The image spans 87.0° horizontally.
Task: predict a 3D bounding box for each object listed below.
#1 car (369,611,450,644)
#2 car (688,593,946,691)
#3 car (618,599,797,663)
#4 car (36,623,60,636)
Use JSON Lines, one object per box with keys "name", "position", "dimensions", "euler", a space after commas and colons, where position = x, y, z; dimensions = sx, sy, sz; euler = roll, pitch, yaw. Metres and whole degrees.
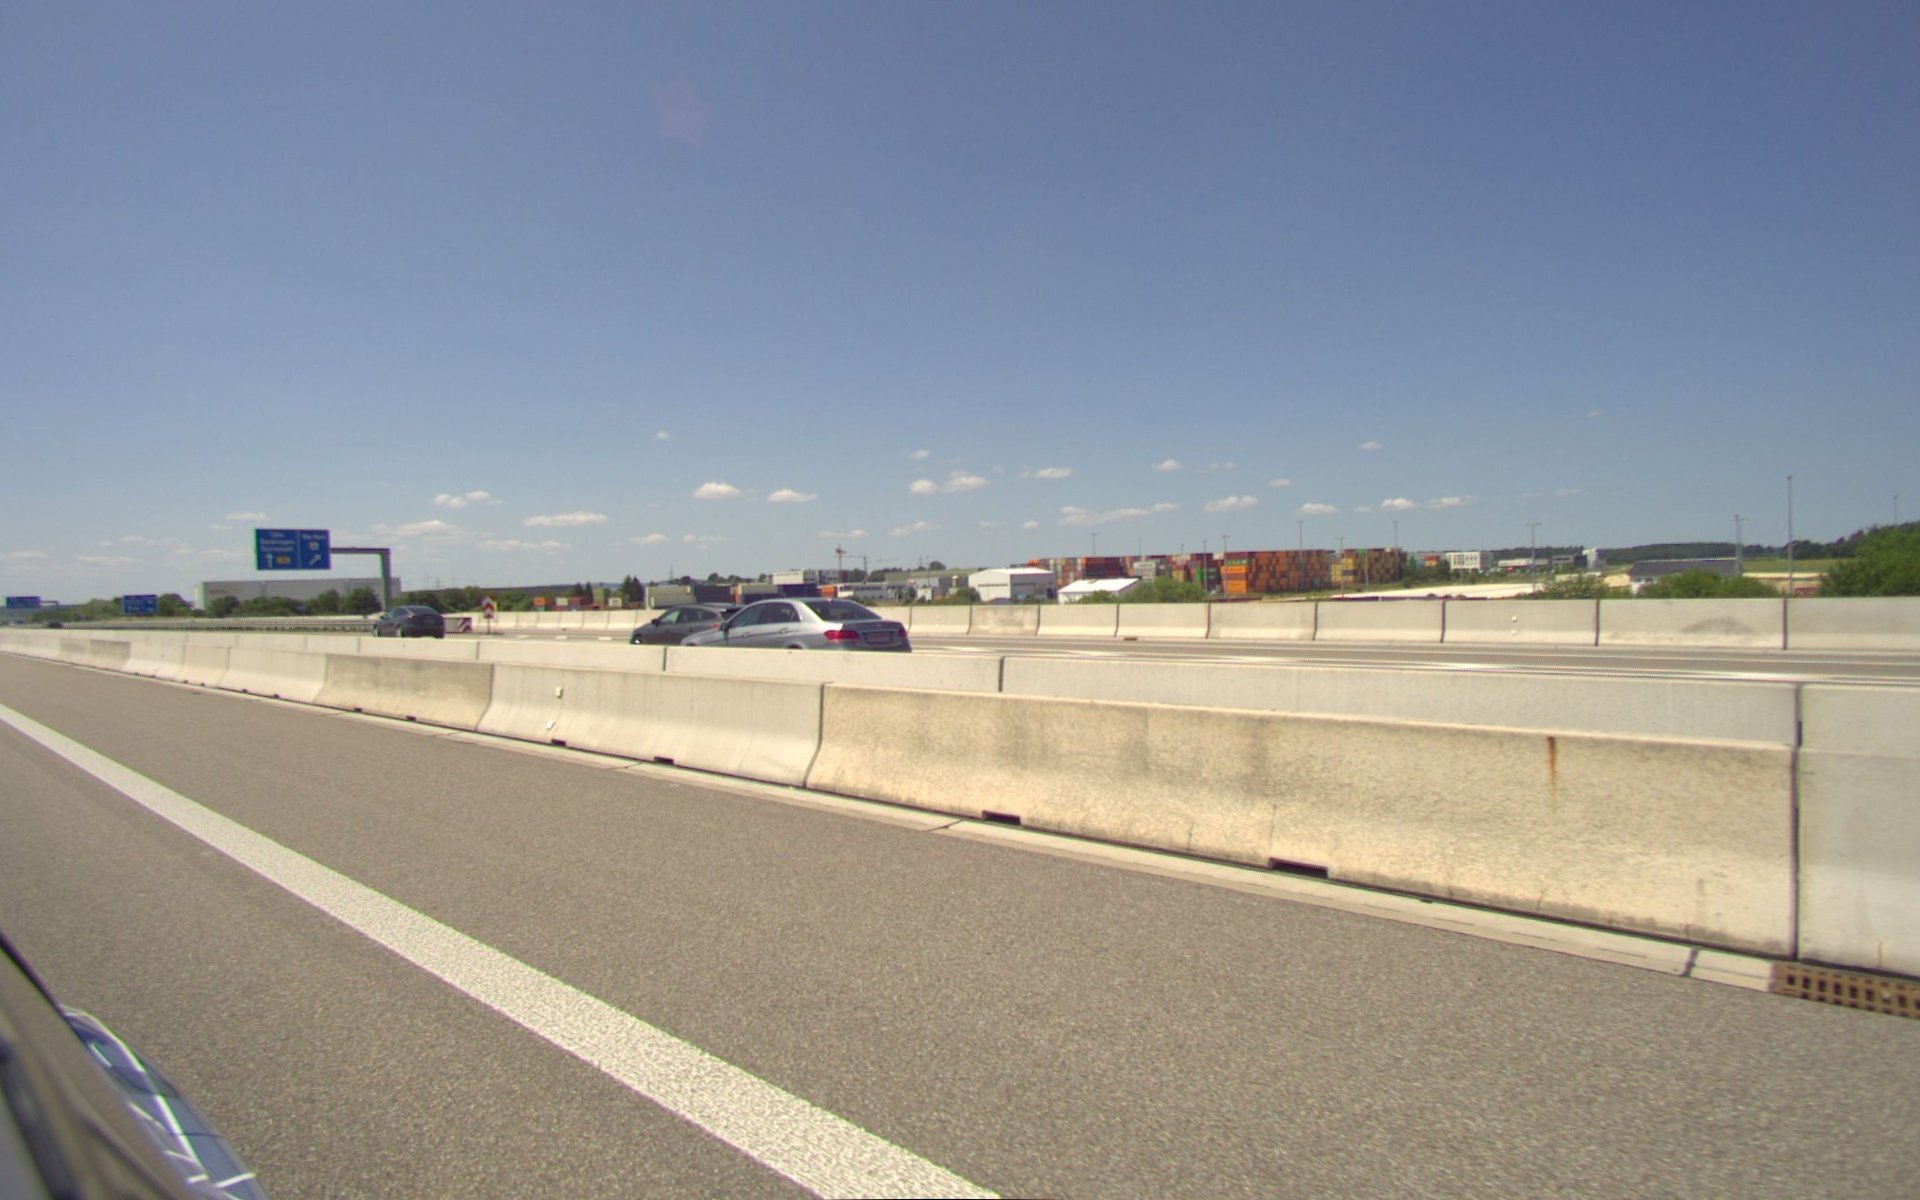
{"name": "car", "position": [-25.746, 1.261, 47.256], "dimensions": [4.548, 1.431, 1.891], "euler": [-2, 0, 42]}
{"name": "car", "position": [-2.517, 0.654, 17.089], "dimensions": [4.523, 1.431, 1.823], "euler": [-1, 0, 42]}
{"name": "car", "position": [-6.387, 0.738, 25.248], "dimensions": [4.907, 1.431, 1.892], "euler": [-1, 0, 42]}
{"name": "car", "position": [-113.418, 3.695, 125.813], "dimensions": [4.547, 1.548, 1.714], "euler": [-2, 0, 42]}
